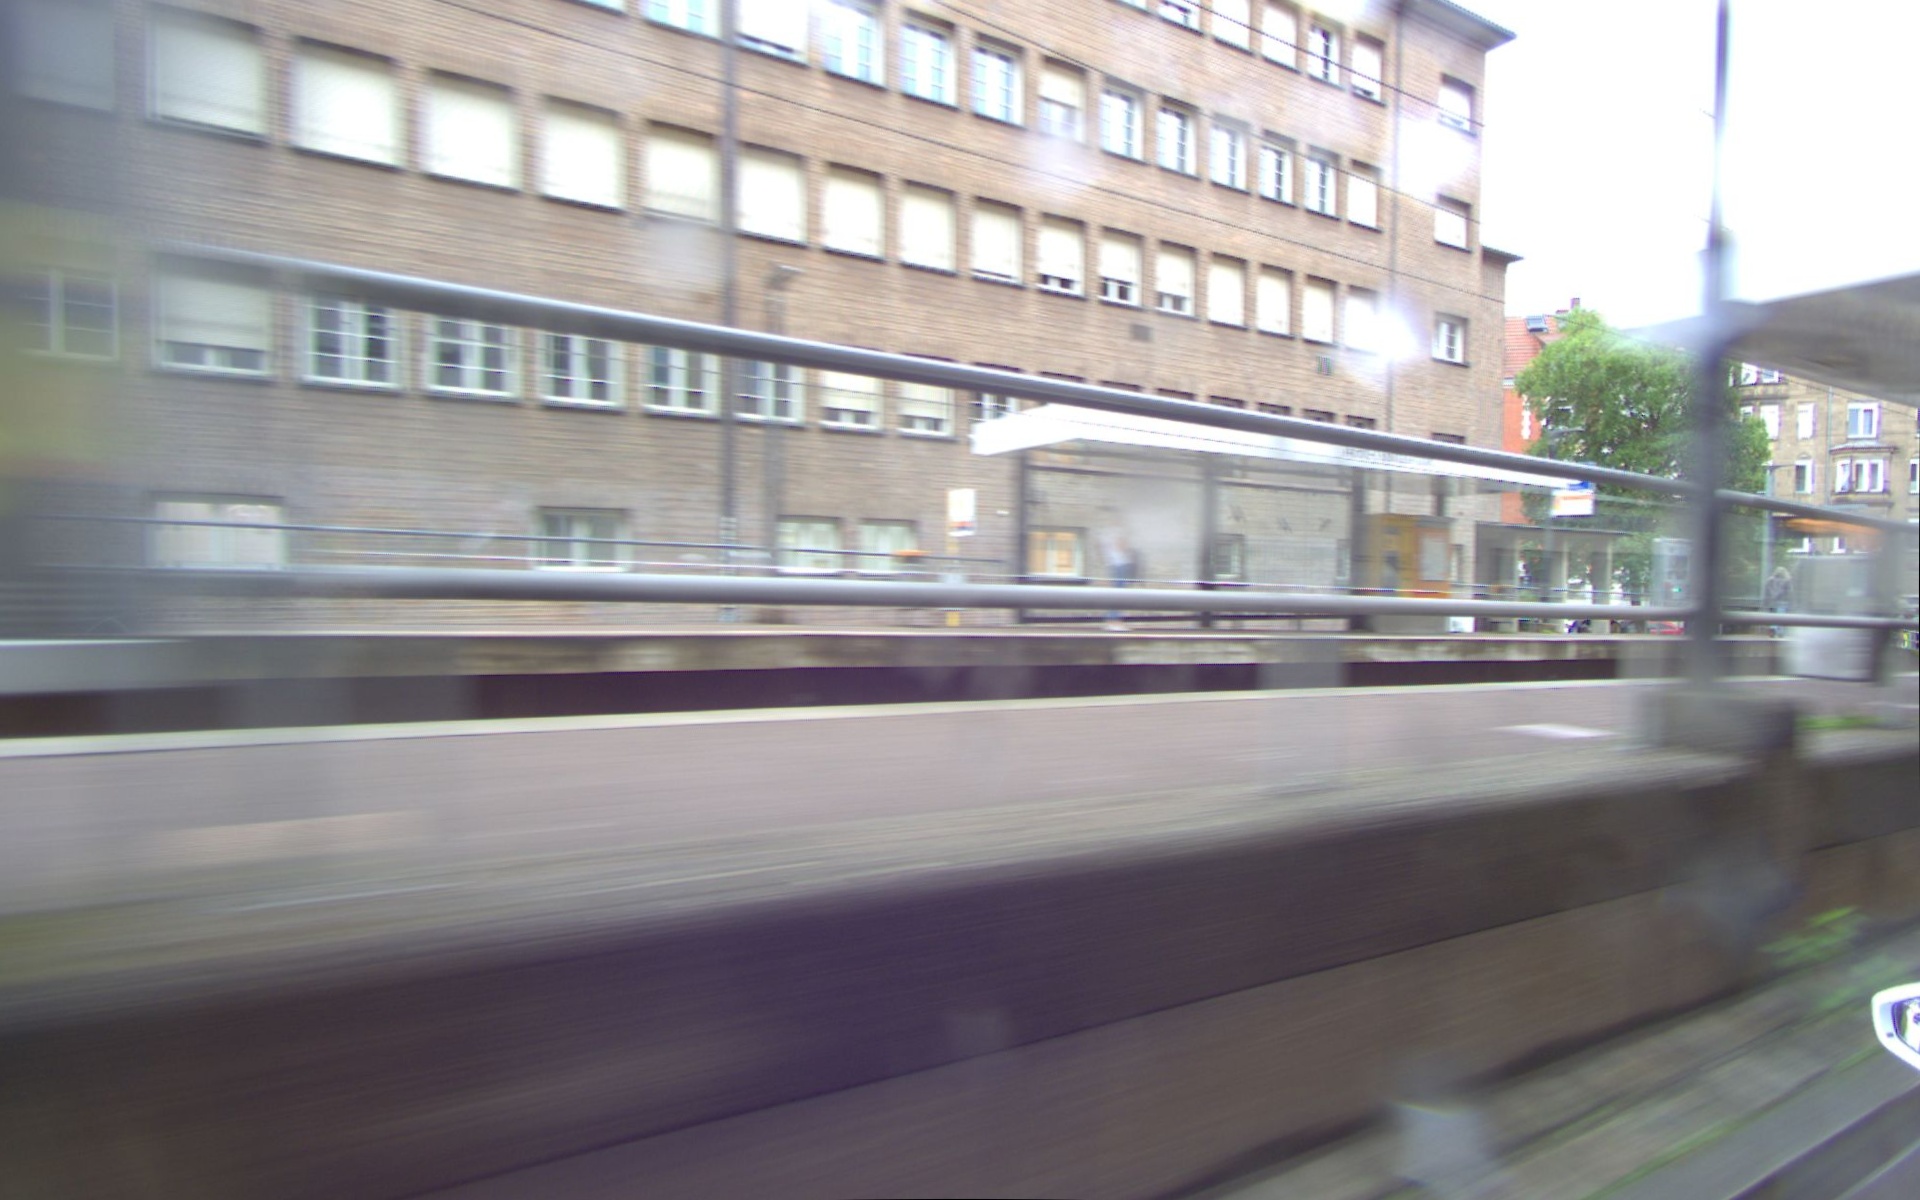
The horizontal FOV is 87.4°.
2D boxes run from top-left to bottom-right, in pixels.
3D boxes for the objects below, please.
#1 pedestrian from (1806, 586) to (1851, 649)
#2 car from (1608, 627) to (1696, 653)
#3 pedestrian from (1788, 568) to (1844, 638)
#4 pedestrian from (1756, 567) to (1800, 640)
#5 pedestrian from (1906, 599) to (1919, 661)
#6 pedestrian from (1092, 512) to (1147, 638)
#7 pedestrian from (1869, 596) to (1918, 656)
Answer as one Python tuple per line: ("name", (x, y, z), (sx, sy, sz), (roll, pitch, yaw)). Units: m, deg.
("pedestrian", (23.285, 0.476, 26.931), (0.633, 1.668, 0.740), (3, -2, -30))
("car", (41.138, 2.376, 59.764), (3.919, 1.421, 1.743), (1, -1, 12))
("pedestrian", (21.860, 0.066, 25.656), (0.872, 1.719, 0.740), (3, 1, -30))
("pedestrian", (19.634, 0.089, 24.118), (0.681, 1.721, 0.660), (1, -1, -34))
("pedestrian", (29.039, 0.914, 30.285), (0.790, 1.842, 0.508), (1, 1, -30))
("pedestrian", (2.256, -0.335, 14.230), (0.486, 1.732, 0.584), (1, -1, -31))
("pedestrian", (25.538, 0.717, 27.476), (0.945, 1.604, 0.689), (2, 0, -30))
